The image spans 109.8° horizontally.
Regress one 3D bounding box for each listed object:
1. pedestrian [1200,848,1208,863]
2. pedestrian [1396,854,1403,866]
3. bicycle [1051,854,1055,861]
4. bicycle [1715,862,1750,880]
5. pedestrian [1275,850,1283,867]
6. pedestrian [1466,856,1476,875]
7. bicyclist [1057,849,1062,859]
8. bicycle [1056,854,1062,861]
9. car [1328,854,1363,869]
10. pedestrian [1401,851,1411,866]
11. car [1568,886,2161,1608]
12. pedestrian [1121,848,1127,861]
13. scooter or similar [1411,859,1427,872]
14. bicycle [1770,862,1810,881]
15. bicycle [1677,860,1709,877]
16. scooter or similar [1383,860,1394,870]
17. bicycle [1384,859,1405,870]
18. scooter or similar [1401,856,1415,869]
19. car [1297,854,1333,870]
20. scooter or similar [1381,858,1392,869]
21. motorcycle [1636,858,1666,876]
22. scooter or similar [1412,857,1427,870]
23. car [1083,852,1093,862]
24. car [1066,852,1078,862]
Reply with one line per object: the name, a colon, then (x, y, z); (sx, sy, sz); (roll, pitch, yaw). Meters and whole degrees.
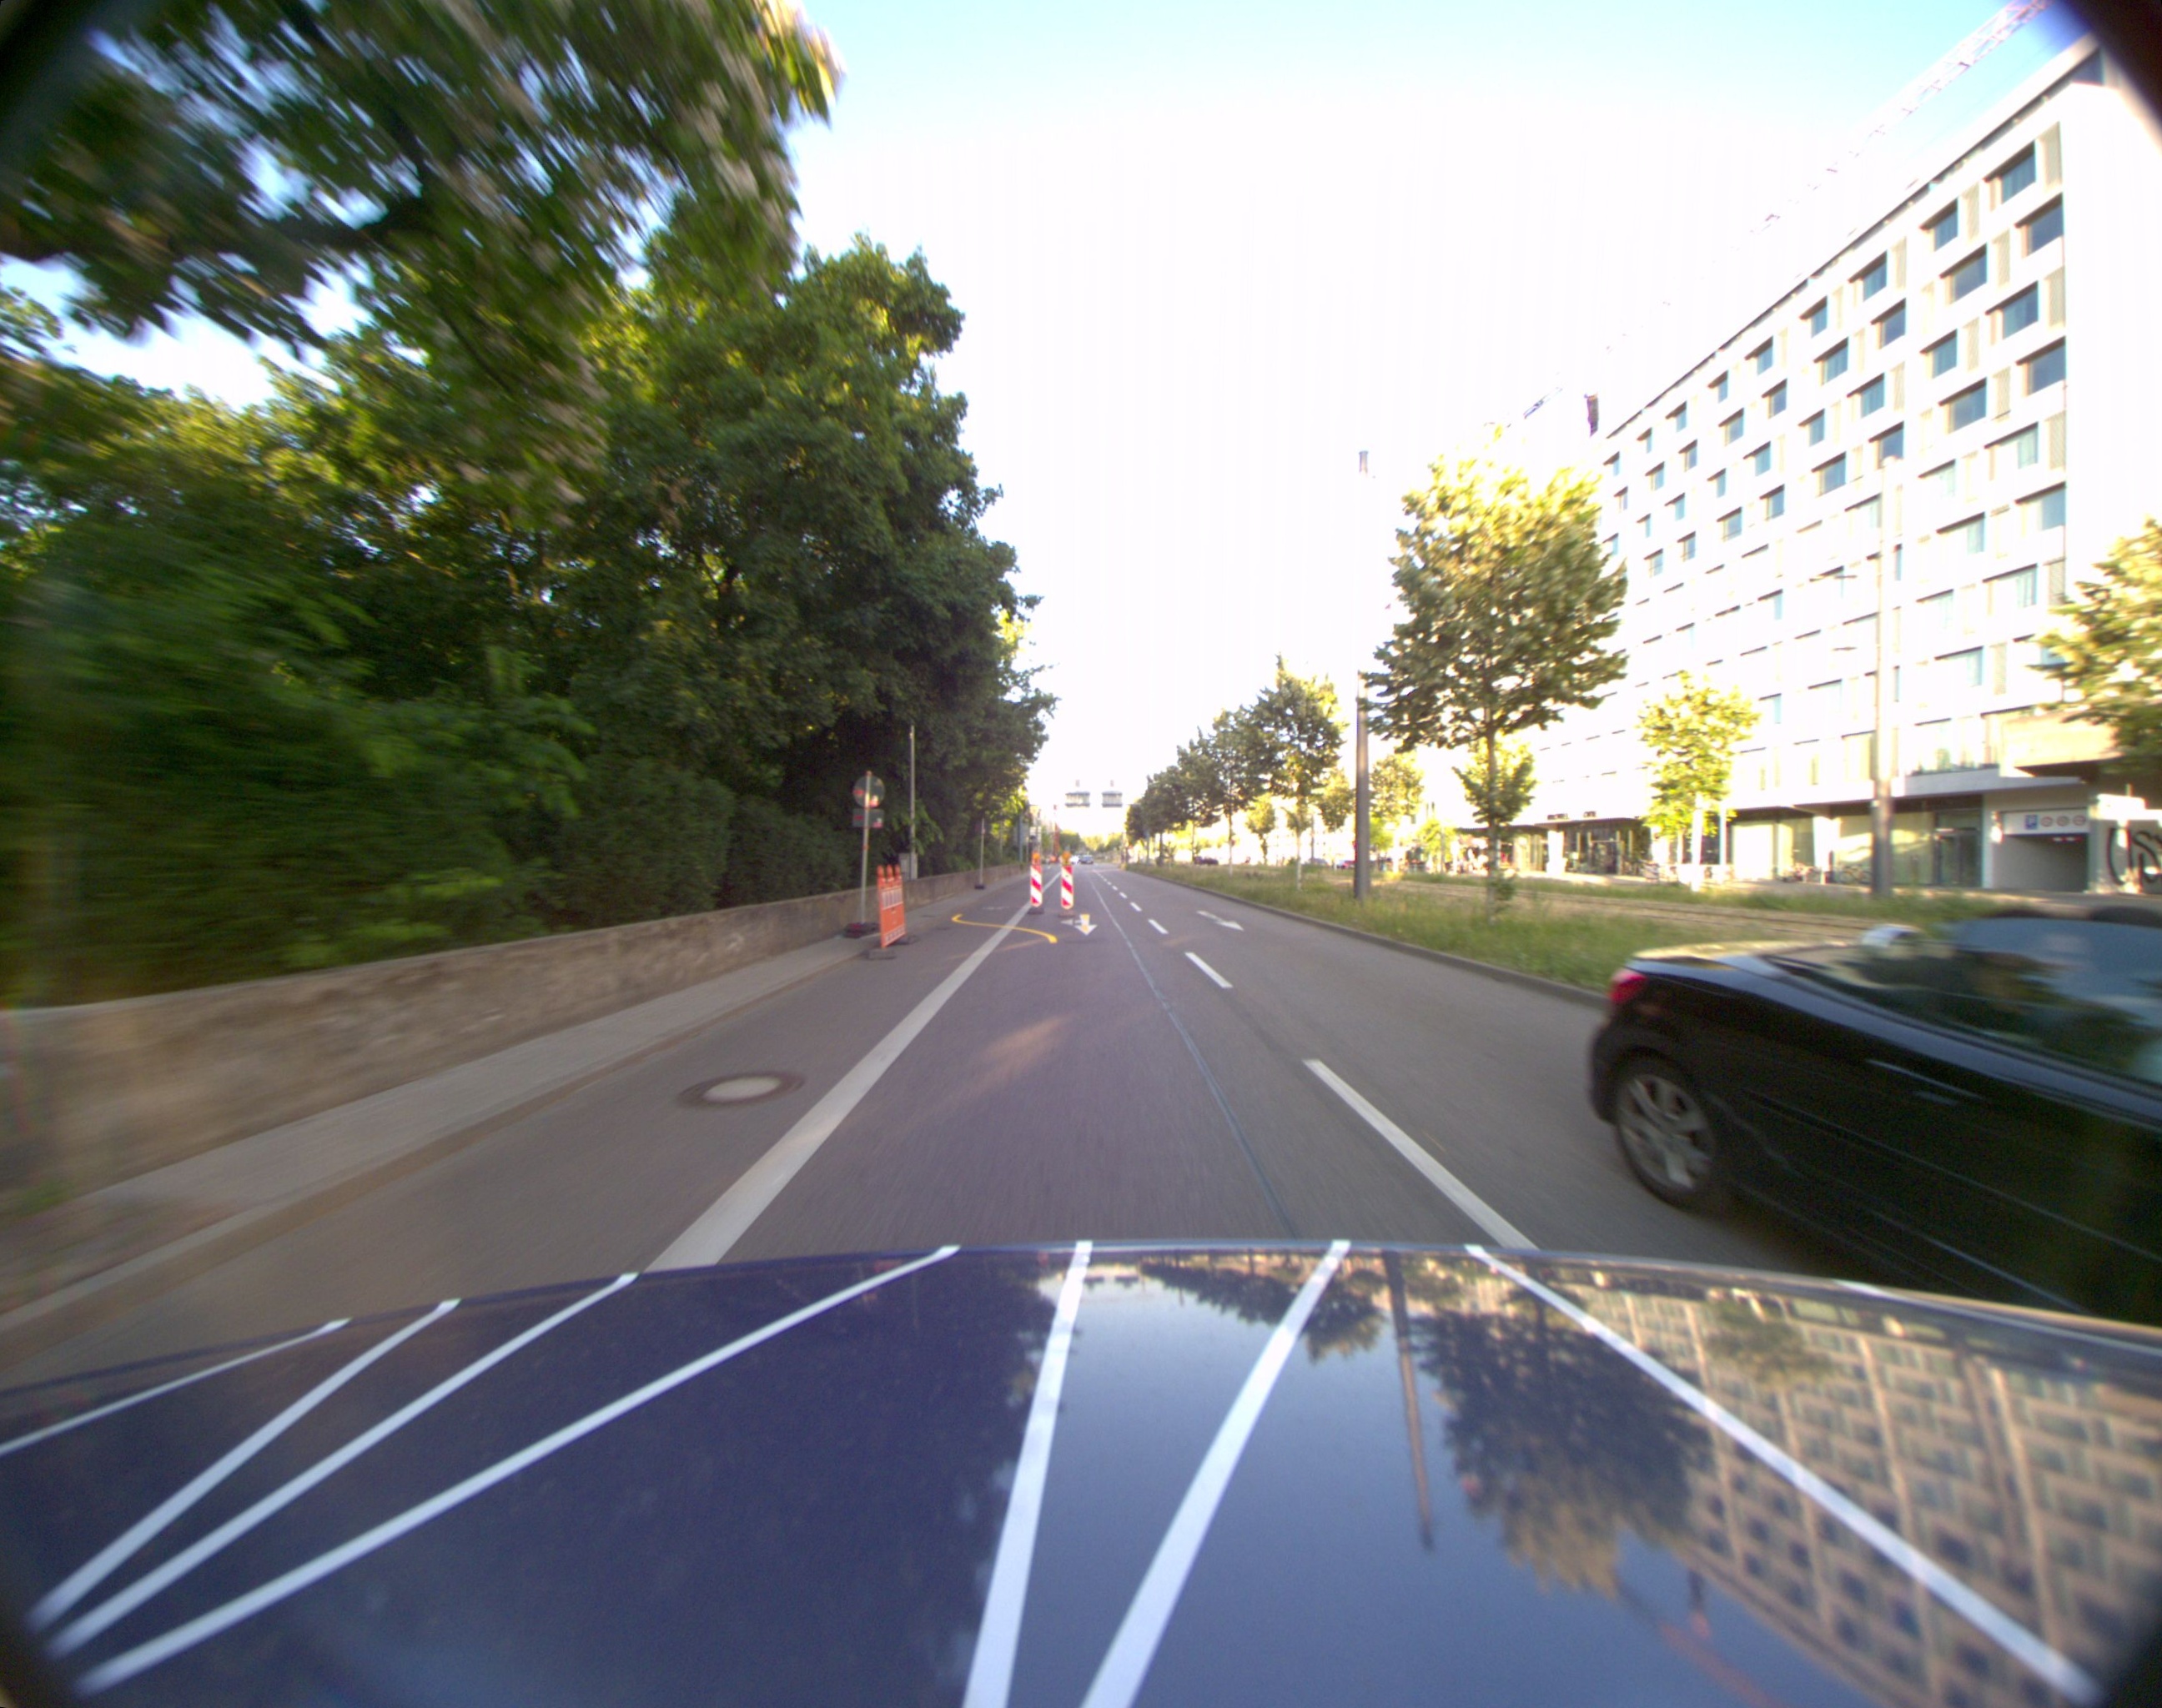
pedestrian: (14.546, 0.182, 89.662); (0.708, 1.825, 0.763); (-2, 1, -1)
pedestrian: (38.816, 0.784, 92.583); (0.605, 1.454, 0.772); (0, 0, 0)
bicycle: (-4.643, 0.569, 125.715); (0.528, 1.045, 2.047); (3, 2, 3)
bicycle: (38.165, 0.998, 44.529); (1.792, 1.014, 0.421); (0, 1, -4)
pedestrian: (22.908, 0.545, 87.896); (0.833, 2.002, 0.854); (0, 1, 3)
pedestrian: (33.557, 0.986, 65.449); (0.498, 1.590, 0.603); (-2, 1, 1)
bicyclist: (-3.622, -0.002, 125.706); (0.705, 1.690, 0.768); (-1, -1, 3)
bicycle: (-3.608, 0.559, 125.701); (0.721, 1.045, 2.044); (-2, 2, 4)
car: (26.064, 0.704, 74.884); (1.890, 1.431, 4.223); (0, 0, -1)
pedestrian: (34.484, 0.444, 80.711); (0.682, 1.594, 0.707); (-3, 1, -38)
car: (3.125, 0.853, 1.551); (1.723, 1.441, 3.901); (-1, -1, -1)
pedestrian: (5.034, 0.057, 88.212); (0.579, 1.495, 0.619); (3, 1, 10)
scooter or similar: (30.971, 1.062, 69.623); (1.184, 1.051, 0.338); (-4, -1, 0)
bicycle: (37.827, 0.913, 40.534); (1.792, 1.014, 0.421); (0, 1, -4)
bicycle: (38.039, 0.898, 47.244); (1.747, 1.014, 0.421); (0, 1, -4)
scooter or similar: (31.181, 1.124, 77.024); (1.009, 1.028, 0.291); (0, 2, 0)
bicycle: (31.148, 1.059, 75.488); (1.914, 1.053, 0.443); (-1, 1, -3)
scooter or similar: (31.322, 0.779, 72.753); (1.184, 1.210, 0.338); (0, 1, 1)
car: (23.092, 0.779, 75.053); (2.020, 1.432, 4.801); (2, 0, 0)
scooter or similar: (31.419, 1.011, 78.127); (0.974, 1.079, 0.338); (-2, 3, 0)
motorcycle: (38.280, 0.857, 51.023); (1.899, 1.165, 0.515); (-1, 1, -15)
scooter or similar: (31.605, 0.871, 70.946); (1.184, 1.157, 0.338); (0, 1, 0)
car: (1.225, 0.461, 128.374); (1.702, 1.588, 4.260); (-1, 0, 1)
car: (-1.460, 0.517, 128.199); (1.833, 1.588, 4.260); (-1, 0, 1)
